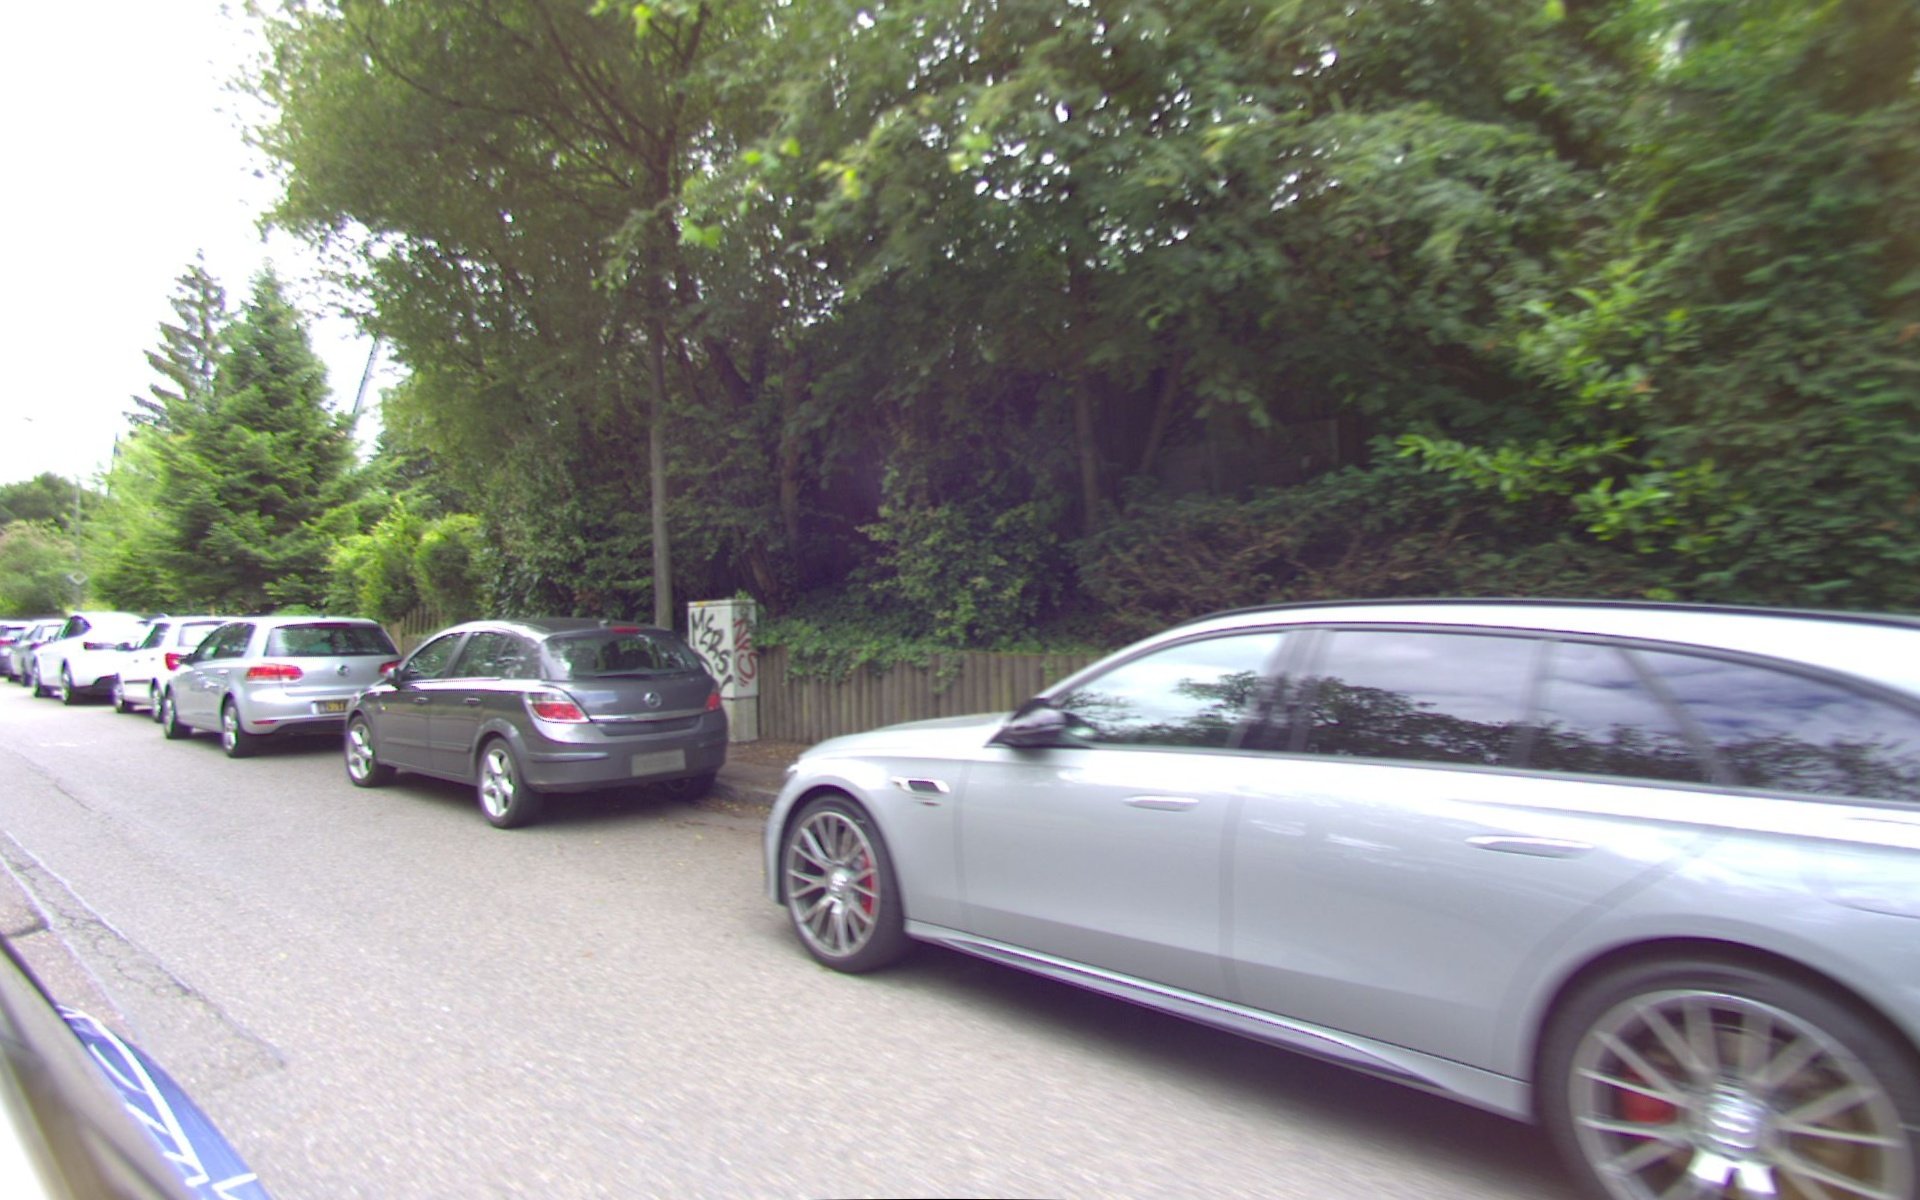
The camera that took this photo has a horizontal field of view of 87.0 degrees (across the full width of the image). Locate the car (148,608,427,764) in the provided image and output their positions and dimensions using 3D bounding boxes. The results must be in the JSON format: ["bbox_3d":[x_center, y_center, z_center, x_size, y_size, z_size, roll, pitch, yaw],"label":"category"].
[{"bbox_3d":[-7.934,0.888,11.802,4.006,1.516,1.702,-1,-3,41],"label":"car"}]

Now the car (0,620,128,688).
[{"bbox_3d":[-21.182,1.208,23.805,4.114,1.450,1.815,-1,-2,41],"label":"car"}]

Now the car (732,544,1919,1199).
[{"bbox_3d":[1.375,0.700,3.486,4.863,1.516,1.778,-1,-3,43],"label":"car"}]

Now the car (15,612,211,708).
[{"bbox_3d":[-15.845,1.056,18.858,4.598,1.574,1.897,-1,-3,39],"label":"car"}]

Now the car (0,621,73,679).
[{"bbox_3d":[-25.554,1.301,27.304,4.257,1.450,1.717,-1,-1,38],"label":"car"}]

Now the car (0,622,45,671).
[{"bbox_3d":[-30.128,1.417,31.446,4.905,1.450,1.830,-1,-1,40],"label":"car"}]

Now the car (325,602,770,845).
[{"bbox_3d":[-3.533,0.824,8.320,4.057,1.516,1.702,-1,-2,41],"label":"car"}]

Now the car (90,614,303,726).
[{"bbox_3d":[-11.811,1.007,15.581,3.812,1.516,1.703,-1,-3,39],"label":"car"}]
